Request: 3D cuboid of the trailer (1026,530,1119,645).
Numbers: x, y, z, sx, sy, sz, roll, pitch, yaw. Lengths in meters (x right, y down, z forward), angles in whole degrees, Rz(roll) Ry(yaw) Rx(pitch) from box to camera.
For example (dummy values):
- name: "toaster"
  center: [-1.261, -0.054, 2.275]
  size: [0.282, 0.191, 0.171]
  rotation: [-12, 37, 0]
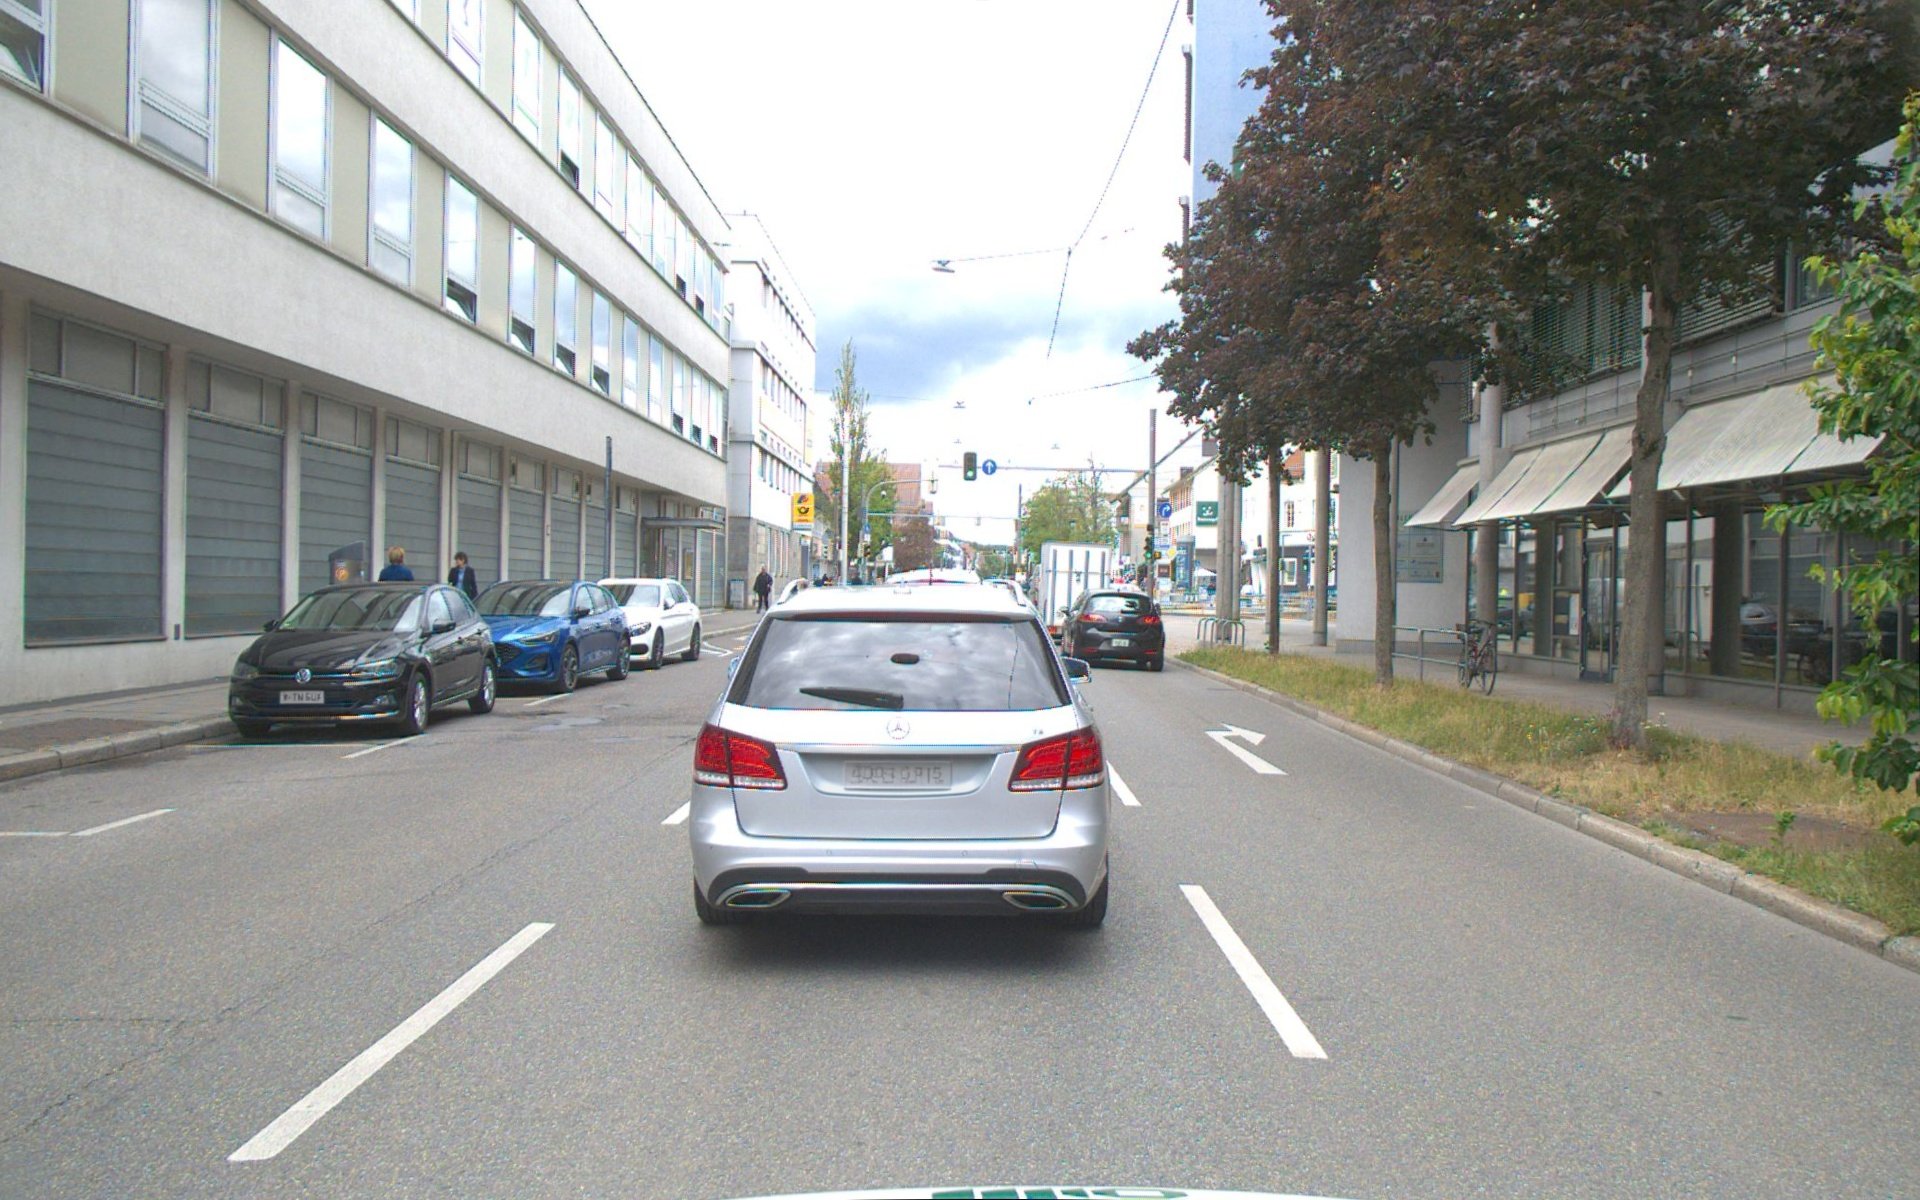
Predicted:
- name: "trailer"
  center: [2.794, -0.326, 42.047]
  size: [1.840, 2.658, 4.322]
  rotation: [3, 1, -1]

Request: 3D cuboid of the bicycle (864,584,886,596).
- name: "bicycle"
  center: [-7.683, -0.886, 149.831]
  size: [1.902, 1.047, 0.529]
  rotation: [2, 0, -9]

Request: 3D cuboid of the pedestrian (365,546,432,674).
- name: "pedestrian"
  center: [-7.825, 0.131, 23.092]
  size: [0.577, 1.748, 1.055]
  rotation: [1, 0, -1]

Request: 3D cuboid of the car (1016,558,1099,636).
- name: "car"
  center: [2.684, -0.102, 46.654]
  size: [1.840, 1.979, 4.905]
  rotation: [3, 1, -1]

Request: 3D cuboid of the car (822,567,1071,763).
- name: "car"
  center: [0.017, 0.500, 15.319]
  size: [1.697, 1.534, 4.003]
  rotation: [1, 1, 8]

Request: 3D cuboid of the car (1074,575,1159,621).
- name: "car"
  center: [6.184, -0.054, 64.940]
  size: [1.701, 1.633, 4.554]
  rotation: [3, 1, 27]

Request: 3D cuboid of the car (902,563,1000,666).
- name: "car"
  center: [-0.197, 0.231, 30.939]
  size: [1.699, 1.789, 3.999]
  rotation: [1, 1, -1]

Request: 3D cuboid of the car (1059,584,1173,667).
- name: "car"
  center: [2.905, 0.438, 31.458]
  size: [1.699, 1.435, 3.999]
  rotation: [1, 1, -1]

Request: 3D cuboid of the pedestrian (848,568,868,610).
- name: "pedestrian"
  center: [-4.359, -0.474, 70.667]
  size: [0.634, 1.748, 0.783]
  rotation: [2, 1, 8]

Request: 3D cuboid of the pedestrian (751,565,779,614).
- name: "pedestrian"
  center: [-7.108, -0.384, 60.270]
  size: [0.844, 1.748, 1.031]
  rotation: [2, 0, -2]

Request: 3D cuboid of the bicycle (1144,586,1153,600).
- name: "bicycle"
  center: [14.613, -0.549, 128.195]
  size: [0.438, 1.127, 2.150]
  rotation: [1, 1, 2]

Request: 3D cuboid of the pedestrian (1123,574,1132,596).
- name: "pedestrian"
  center: [13.279, -1.172, 131.204]
  size: [0.566, 1.695, 0.651]
  rotation: [2, 0, -3]

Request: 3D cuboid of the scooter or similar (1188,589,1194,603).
- name: "scooter or similar"
  center: [16.888, -0.287, 120.946]
  size: [0.266, 1.019, 1.028]
  rotation: [1, 0, -3]

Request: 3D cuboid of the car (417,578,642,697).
- name: "car"
  center: [-5.741, 0.437, 22.581]
  size: [1.777, 1.450, 4.266]
  rotation: [-1, 1, 2]

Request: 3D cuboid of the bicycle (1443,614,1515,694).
- name: "bicycle"
  center: [7.755, 0.784, 24.783]
  size: [0.353, 1.105, 2.027]
  rotation: [2, 0, -1]

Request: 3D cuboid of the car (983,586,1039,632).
- name: "car"
  center: [1.696, 0.283, 56.121]
  size: [1.699, 1.435, 3.999]
  rotation: [1, 1, -1]

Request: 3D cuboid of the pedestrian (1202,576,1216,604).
- name: "pedestrian"
  center: [15.737, -0.649, 104.502]
  size: [0.636, 1.748, 0.703]
  rotation: [1, 0, 31]

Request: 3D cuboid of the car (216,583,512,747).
- name: "car"
  center: [-5.927, 0.569, 16.936]
  size: [1.681, 1.450, 3.869]
  rotation: [-1, 1, -1]

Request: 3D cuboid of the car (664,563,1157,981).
- name: "car"
  center: [-0.224, 0.613, 8.198]
  size: [1.808, 1.534, 4.170]
  rotation: [1, 1, -1]

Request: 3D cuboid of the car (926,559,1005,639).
- name: "car"
  center: [0.095, -0.056, 40.104]
  size: [1.791, 1.816, 3.999]
  rotation: [1, 1, -1]

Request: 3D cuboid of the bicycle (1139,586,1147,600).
- name: "bicycle"
  center: [14.172, -0.548, 128.201]
  size: [0.438, 1.110, 2.150]
  rotation: [1, 1, 2]

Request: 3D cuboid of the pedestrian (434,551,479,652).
- name: "pedestrian"
  center: [-8.870, 0.022, 29.148]
  size: [0.577, 1.748, 0.649]
  rotation: [1, 0, -2]

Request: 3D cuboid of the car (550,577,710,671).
- name: "car"
  center: [-5.564, 0.349, 28.412]
  size: [1.635, 1.459, 4.554]
  rotation: [-1, 1, 2]

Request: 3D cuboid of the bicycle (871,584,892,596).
- name: "bicycle"
  center: [-7.333, -0.908, 153.813]
  size: [1.902, 1.047, 0.529]
  rotation: [2, 0, -9]

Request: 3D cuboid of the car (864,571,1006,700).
- name: "car"
  center: [-0.339, 0.399, 21.925]
  size: [1.699, 1.534, 3.999]
  rotation: [1, 1, -1]
